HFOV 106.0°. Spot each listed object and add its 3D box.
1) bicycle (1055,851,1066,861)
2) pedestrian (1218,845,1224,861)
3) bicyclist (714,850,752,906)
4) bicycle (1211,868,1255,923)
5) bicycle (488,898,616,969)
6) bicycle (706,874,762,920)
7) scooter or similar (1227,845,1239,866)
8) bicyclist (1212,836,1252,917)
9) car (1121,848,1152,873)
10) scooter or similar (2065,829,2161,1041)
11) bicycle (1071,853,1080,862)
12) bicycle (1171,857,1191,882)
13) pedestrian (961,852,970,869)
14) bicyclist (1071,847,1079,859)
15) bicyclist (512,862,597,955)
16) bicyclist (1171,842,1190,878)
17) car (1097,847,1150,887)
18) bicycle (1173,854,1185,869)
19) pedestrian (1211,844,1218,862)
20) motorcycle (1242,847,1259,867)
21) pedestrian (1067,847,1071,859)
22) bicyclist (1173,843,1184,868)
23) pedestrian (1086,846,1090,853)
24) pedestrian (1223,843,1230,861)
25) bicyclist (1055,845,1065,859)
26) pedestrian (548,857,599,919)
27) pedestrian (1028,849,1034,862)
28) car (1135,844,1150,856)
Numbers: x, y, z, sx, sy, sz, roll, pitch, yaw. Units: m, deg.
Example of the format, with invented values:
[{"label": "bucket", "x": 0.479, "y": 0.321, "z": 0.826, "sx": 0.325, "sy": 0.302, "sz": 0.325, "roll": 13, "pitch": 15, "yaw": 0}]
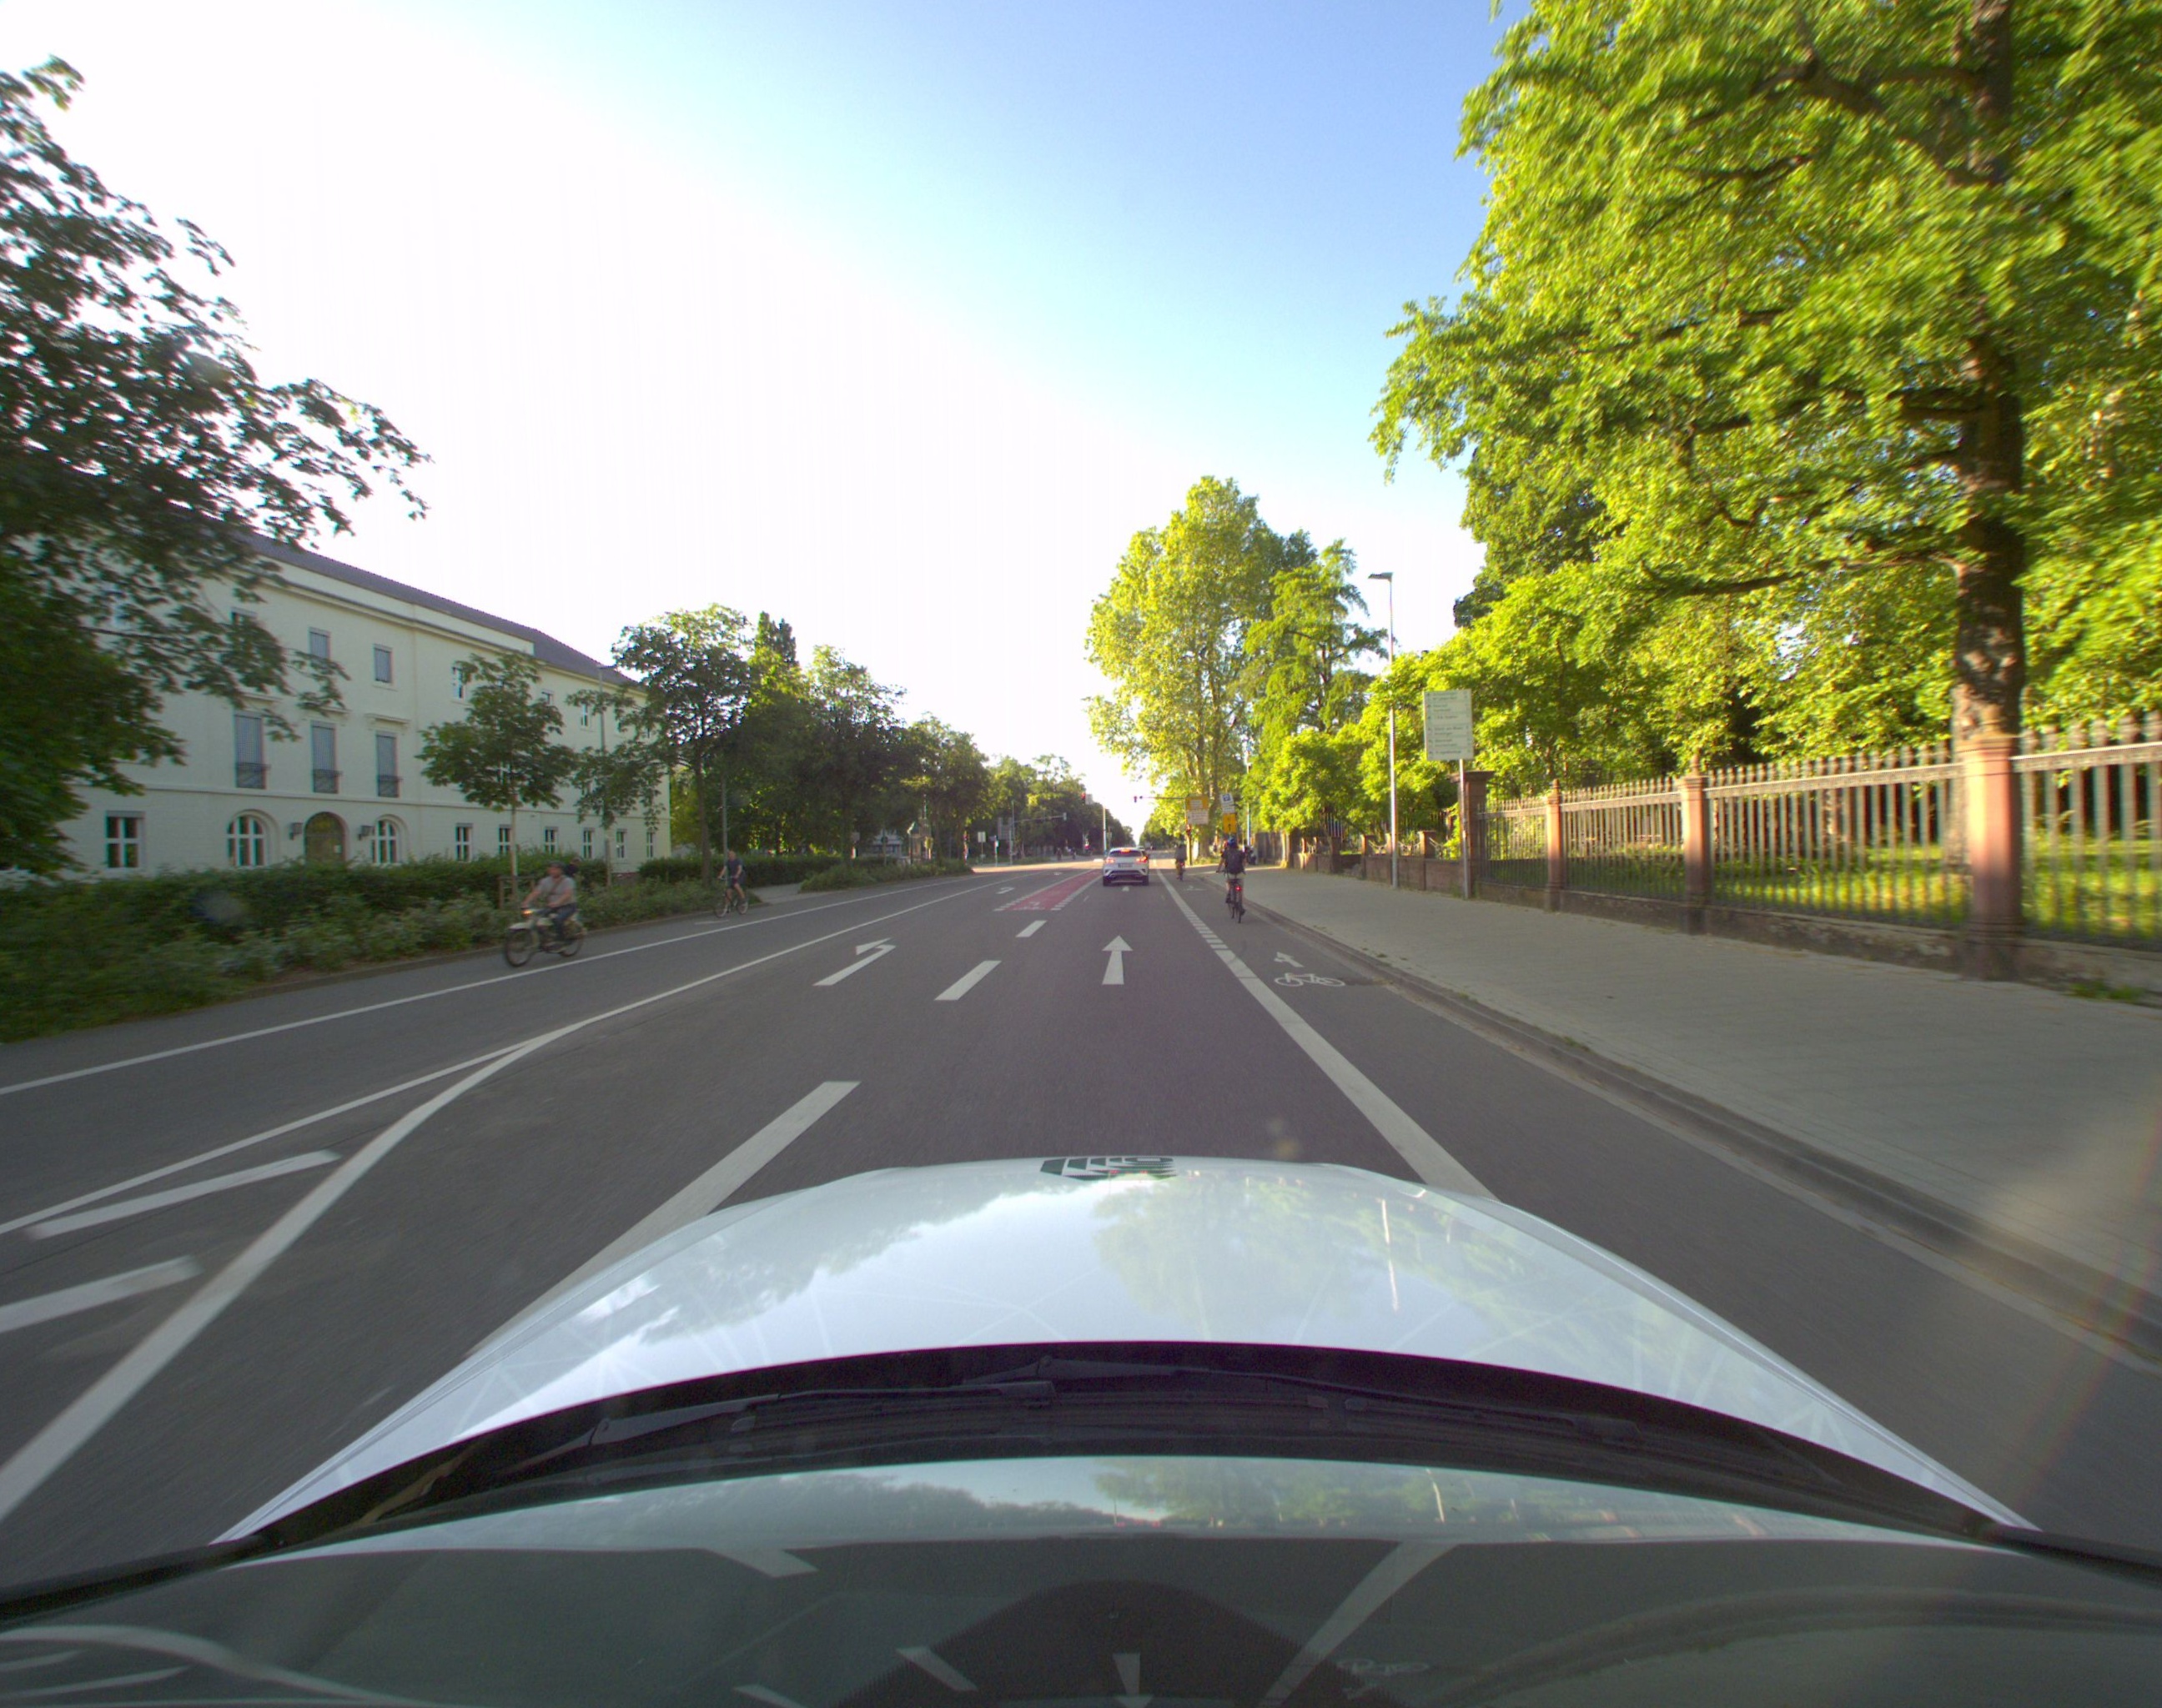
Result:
[{"label": "bicycle", "x": -2.603, "y": 0.236, "z": 103.773, "sx": 1.096, "sy": 1.255, "sz": 2.784, "roll": -3, "pitch": 0, "yaw": 6}, {"label": "pedestrian", "x": 14.562, "y": -0.087, "z": 84.702, "sx": 0.479, "sy": 1.640, "sz": 0.433, "roll": -5, "pitch": 3, "yaw": 10}, {"label": "bicyclist", "x": -9.922, "y": 0.683, "z": 23.268, "sx": 0.627, "sy": 1.522, "sz": 0.725, "roll": -5, "pitch": 0, "yaw": 1}, {"label": "bicycle", "x": 3.180, "y": 0.834, "z": 17.221, "sx": 0.640, "sy": 1.024, "sz": 2.215, "roll": -1, "pitch": 0, "yaw": 4}, {"label": "bicycle", "x": -8.673, "y": 1.273, "z": 13.484, "sx": 0.614, "sy": 0.921, "sz": 2.180, "roll": -3, "pitch": 0, "yaw": 1}, {"label": "bicycle", "x": -9.875, "y": 1.202, "z": 23.251, "sx": 0.594, "sy": 1.120, "sz": 2.027, "roll": -5, "pitch": 0, "yaw": 1}, {"label": "scooter or similar", "x": 10.680, "y": 0.093, "z": 57.235, "sx": 0.564, "sy": 1.382, "sz": 1.857, "roll": -3, "pitch": 0, "yaw": 3}, {"label": "bicyclist", "x": 3.158, "y": 0.452, "z": 17.111, "sx": 0.633, "sy": 1.614, "sz": 1.285, "roll": -1, "pitch": 0, "yaw": 4}, {"label": "car", "x": 3.774, "y": 0.410, "z": 55.411, "sx": 1.920, "sy": 1.533, "sz": 4.004, "roll": -3, "pitch": 0, "yaw": 4}, {"label": "scooter or similar", "x": 6.742, "y": 0.474, "z": 4.499, "sx": 0.548, "sy": 1.243, "sz": 1.550, "roll": -3, "pitch": 0, "yaw": -14}, {"label": "bicycle", "x": -0.848, "y": 0.533, "z": 118.802, "sx": 0.959, "sy": 1.181, "sz": 2.956, "roll": -3, "pitch": 0, "yaw": 6}, {"label": "bicycle", "x": 4.373, "y": 0.672, "z": 35.762, "sx": 0.750, "sy": 1.026, "sz": 1.871, "roll": -1, "pitch": 0, "yaw": 4}, {"label": "pedestrian", "x": -12.912, "y": 0.758, "z": 91.076, "sx": 0.684, "sy": 1.792, "sz": 0.770, "roll": -5, "pitch": 0, "yaw": 3}, {"label": "bicyclist", "x": -0.864, "y": -0.135, "z": 118.952, "sx": 0.951, "sy": 1.705, "sz": 1.234, "roll": -3, "pitch": 0, "yaw": 5}, {"label": "bicyclist", "x": -8.701, "y": 0.877, "z": 13.498, "sx": 0.644, "sy": 1.418, "sz": 0.971, "roll": -5, "pitch": 1, "yaw": 1}, {"label": "bicyclist", "x": 4.364, "y": 0.259, "z": 35.831, "sx": 0.744, "sy": 1.537, "sz": 0.970, "roll": -2, "pitch": 0, "yaw": 3}, {"label": "car", "x": 1.757, "y": 0.483, "z": 33.233, "sx": 1.985, "sy": 1.453, "sz": 4.004, "roll": -3, "pitch": 0, "yaw": 4}, {"label": "bicycle", "x": 7.005, "y": 0.513, "z": 58.437, "sx": 0.750, "sy": 1.026, "sz": 1.871, "roll": -1, "pitch": 0, "yaw": 4}, {"label": "pedestrian", "x": 13.877, "y": -0.102, "z": 84.586, "sx": 0.479, "sy": 1.792, "sz": 0.433, "roll": -5, "pitch": 3, "yaw": 10}, {"label": "motorcycle", "x": 10.497, "y": 0.174, "z": 50.451, "sx": 0.659, "sy": 1.167, "sz": 2.330, "roll": -5, "pitch": 0, "yaw": 4}, {"label": "pedestrian", "x": -2.217, "y": -0.169, "z": 148.331, "sx": 0.654, "sy": 2.013, "sz": 0.832, "roll": -3, "pitch": 0, "yaw": 2}, {"label": "bicyclist", "x": 6.992, "y": 0.109, "z": 58.377, "sx": 0.746, "sy": 1.750, "sz": 0.844, "roll": -1, "pitch": 0, "yaw": 3}, {"label": "pedestrian", "x": 2.004, "y": -1.293, "z": 231.593, "sx": 0.869, "sy": 2.149, "sz": 1.107, "roll": -3, "pitch": 0, "yaw": 13}, {"label": "pedestrian", "x": 15.234, "y": -0.220, "z": 85.262, "sx": 0.479, "sy": 1.792, "sz": 0.433, "roll": -5, "pitch": 3, "yaw": 10}, {"label": "bicyclist", "x": -2.624, "y": -0.211, "z": 103.706, "sx": 1.087, "sy": 1.754, "sz": 1.099, "roll": -3, "pitch": 0, "yaw": 6}, {"label": "pedestrian", "x": -15.791, "y": 1.048, "z": 25.364, "sx": 0.852, "sy": 1.851, "sz": 1.002, "roll": -3, "pitch": 0, "yaw": 2}, {"label": "pedestrian", "x": -7.573, "y": 0.242, "z": 123.044, "sx": 0.648, "sy": 1.888, "sz": 0.664, "roll": -3, "pitch": 0, "yaw": 6}, {"label": "car", "x": 8.406, "y": -0.541, "z": 110.623, "sx": 1.727, "sy": 1.546, "sz": 4.009, "roll": -2, "pitch": 1, "yaw": 7}]
